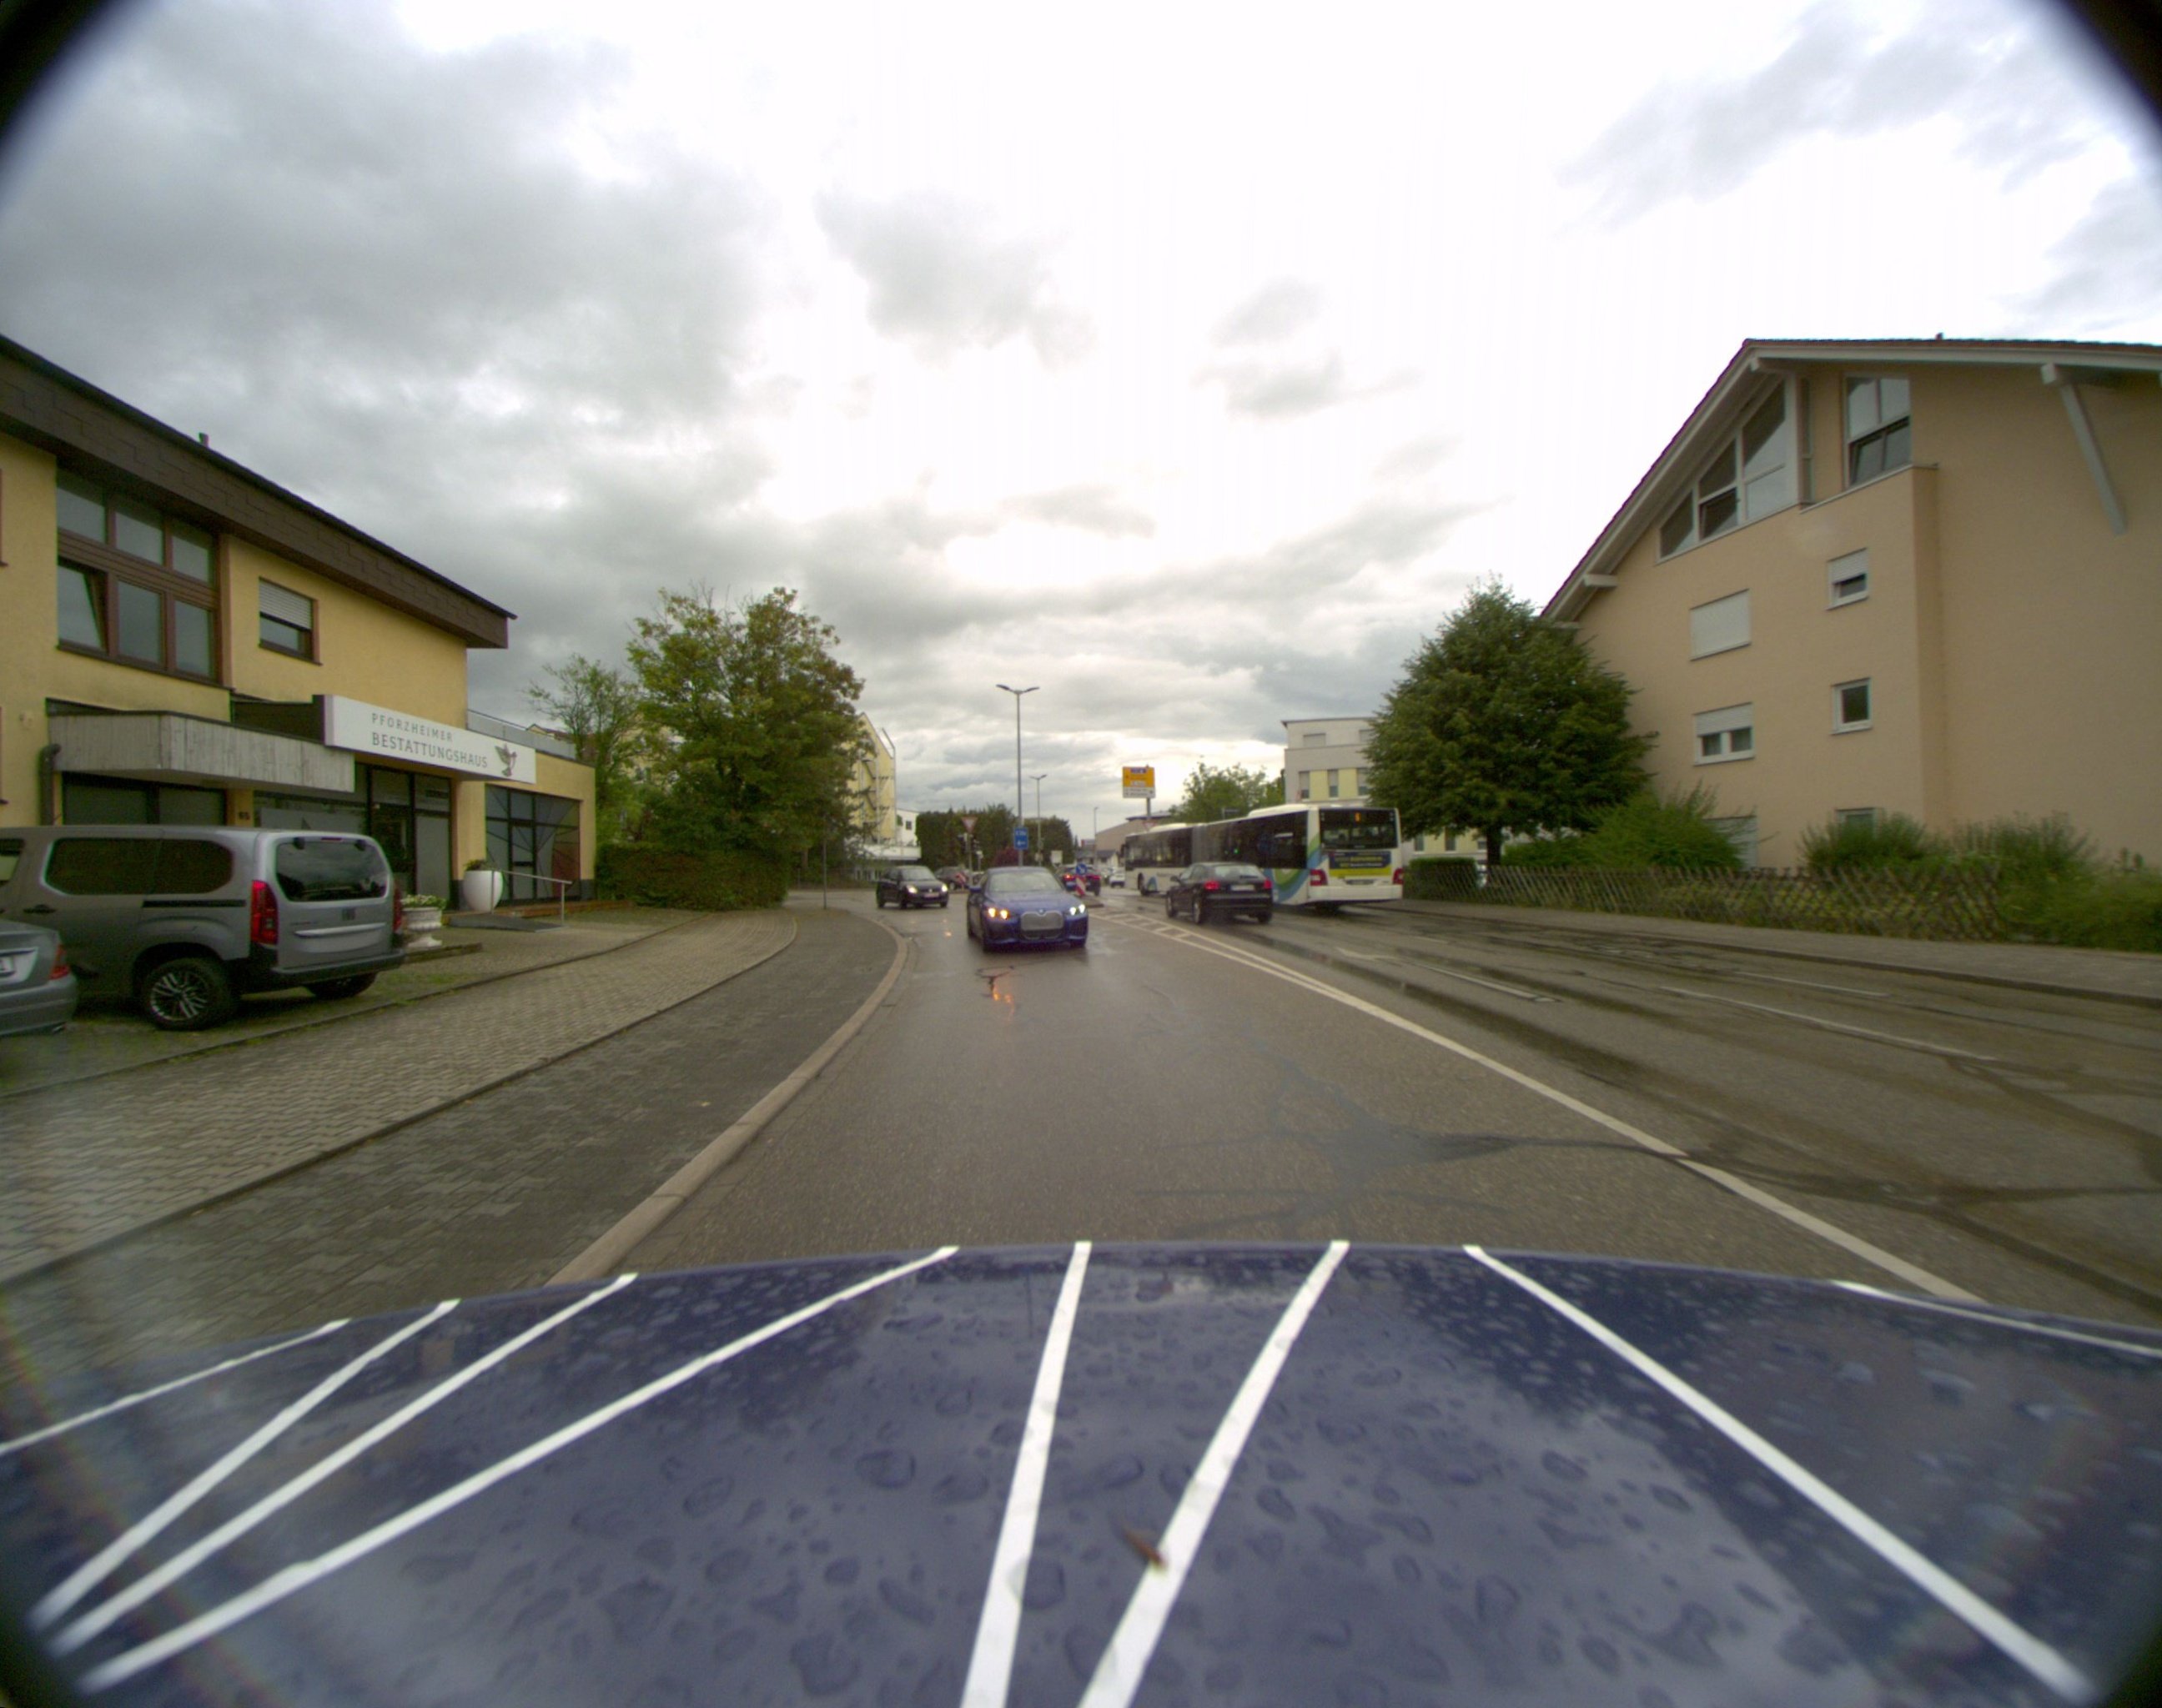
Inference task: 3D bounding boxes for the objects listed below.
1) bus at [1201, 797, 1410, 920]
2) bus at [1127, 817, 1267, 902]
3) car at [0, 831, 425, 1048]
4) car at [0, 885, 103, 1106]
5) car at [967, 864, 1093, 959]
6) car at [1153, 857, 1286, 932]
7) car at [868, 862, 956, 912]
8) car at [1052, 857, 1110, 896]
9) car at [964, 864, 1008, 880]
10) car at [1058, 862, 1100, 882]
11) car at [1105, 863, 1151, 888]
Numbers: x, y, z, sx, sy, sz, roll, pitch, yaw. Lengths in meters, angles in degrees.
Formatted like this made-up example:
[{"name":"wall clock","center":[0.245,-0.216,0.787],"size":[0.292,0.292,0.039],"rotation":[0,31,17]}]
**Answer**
[{"name":"bus","center":[6.162,0.148,22.726],"size":[2.594,2.982,8.399],"rotation":[0,0,-9]},{"name":"bus","center":[4.411,0.226,31.388],"size":[2.556,2.982,9.194],"rotation":[0,0,-13]},{"name":"car","center":[-9.394,0.724,7.271],"size":[4.308,1.771,1.903],"rotation":[2,0,-9]},{"name":"car","center":[-9.232,0.867,4.396],"size":[4.375,1.415,1.694],"rotation":[2,0,-9]},{"name":"car","center":[-1.184,1.003,15.149],"size":[1.915,1.487,4.344],"rotation":[-2,0,-11]},{"name":"car","center":[3.212,0.880,18.523],"size":[1.866,1.509,4.289],"rotation":[-3,0,-8]},{"name":"car","center":[-6.197,1.147,27.620],"size":[1.750,1.511,3.989],"rotation":[-4,3,-33]},{"name":"car","center":[-0.055,0.982,35.396],"size":[1.957,1.510,4.169],"rotation":[-1,2,-10]},{"name":"car","center":[-9.488,1.788,75.945],"size":[3.989,1.455,2.004],"rotation":[-1,0,33]},{"name":"car","center":[-0.135,1.632,69.707],"size":[1.995,1.630,4.008],"rotation":[-1,0,31]},{"name":"car","center":[3.773,1.670,60.253],"size":[1.949,1.715,4.608],"rotation":[-3,0,26]}]
